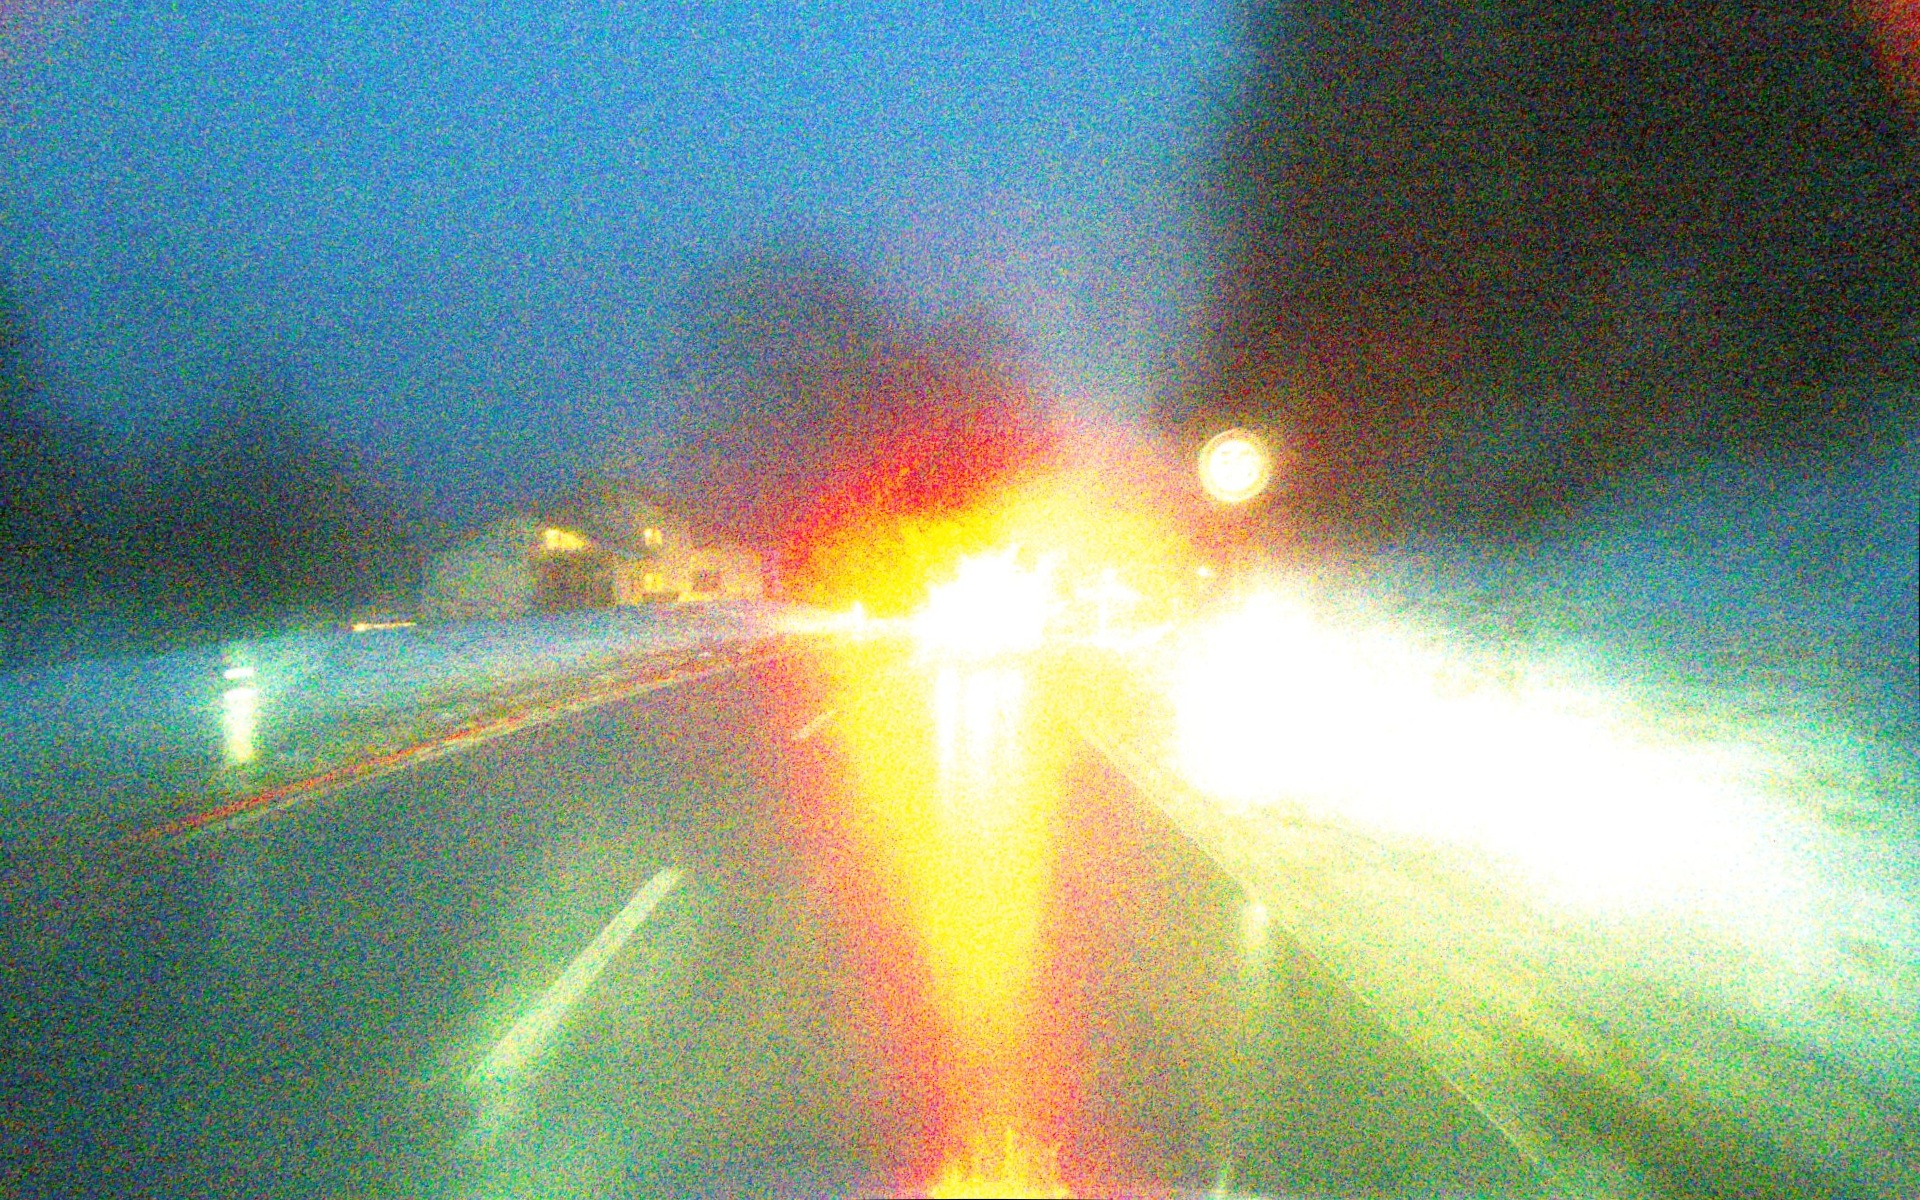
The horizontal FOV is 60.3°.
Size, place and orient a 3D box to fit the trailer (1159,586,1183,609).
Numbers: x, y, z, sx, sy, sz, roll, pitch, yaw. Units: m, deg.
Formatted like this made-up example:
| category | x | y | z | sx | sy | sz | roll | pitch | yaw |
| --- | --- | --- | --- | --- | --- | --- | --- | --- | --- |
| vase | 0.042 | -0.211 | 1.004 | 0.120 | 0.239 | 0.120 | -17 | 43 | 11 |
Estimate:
| category | x | y | z | sx | sy | sz | roll | pitch | yaw |
| --- | --- | --- | --- | --- | --- | --- | --- | --- | --- |
| trailer | 22.726 | -0.247 | 178.008 | 1.598 | 2.406 | 4.648 | 1 | 0 | -5 |

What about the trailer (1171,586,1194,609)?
| category | x | y | z | sx | sy | sz | roll | pitch | yaw |
| --- | --- | --- | --- | --- | --- | --- | --- | --- | --- |
| trailer | 23.255 | -0.240 | 173.099 | 1.574 | 2.393 | 4.428 | 1 | 0 | -4 |

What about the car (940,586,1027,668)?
| category | x | y | z | sx | sy | sz | roll | pitch | yaw |
| --- | --- | --- | --- | --- | --- | --- | --- | --- | --- |
| car | 0.535 | 0.537 | 35.693 | 1.764 | 1.657 | 3.616 | -1 | 0 | 1 |
